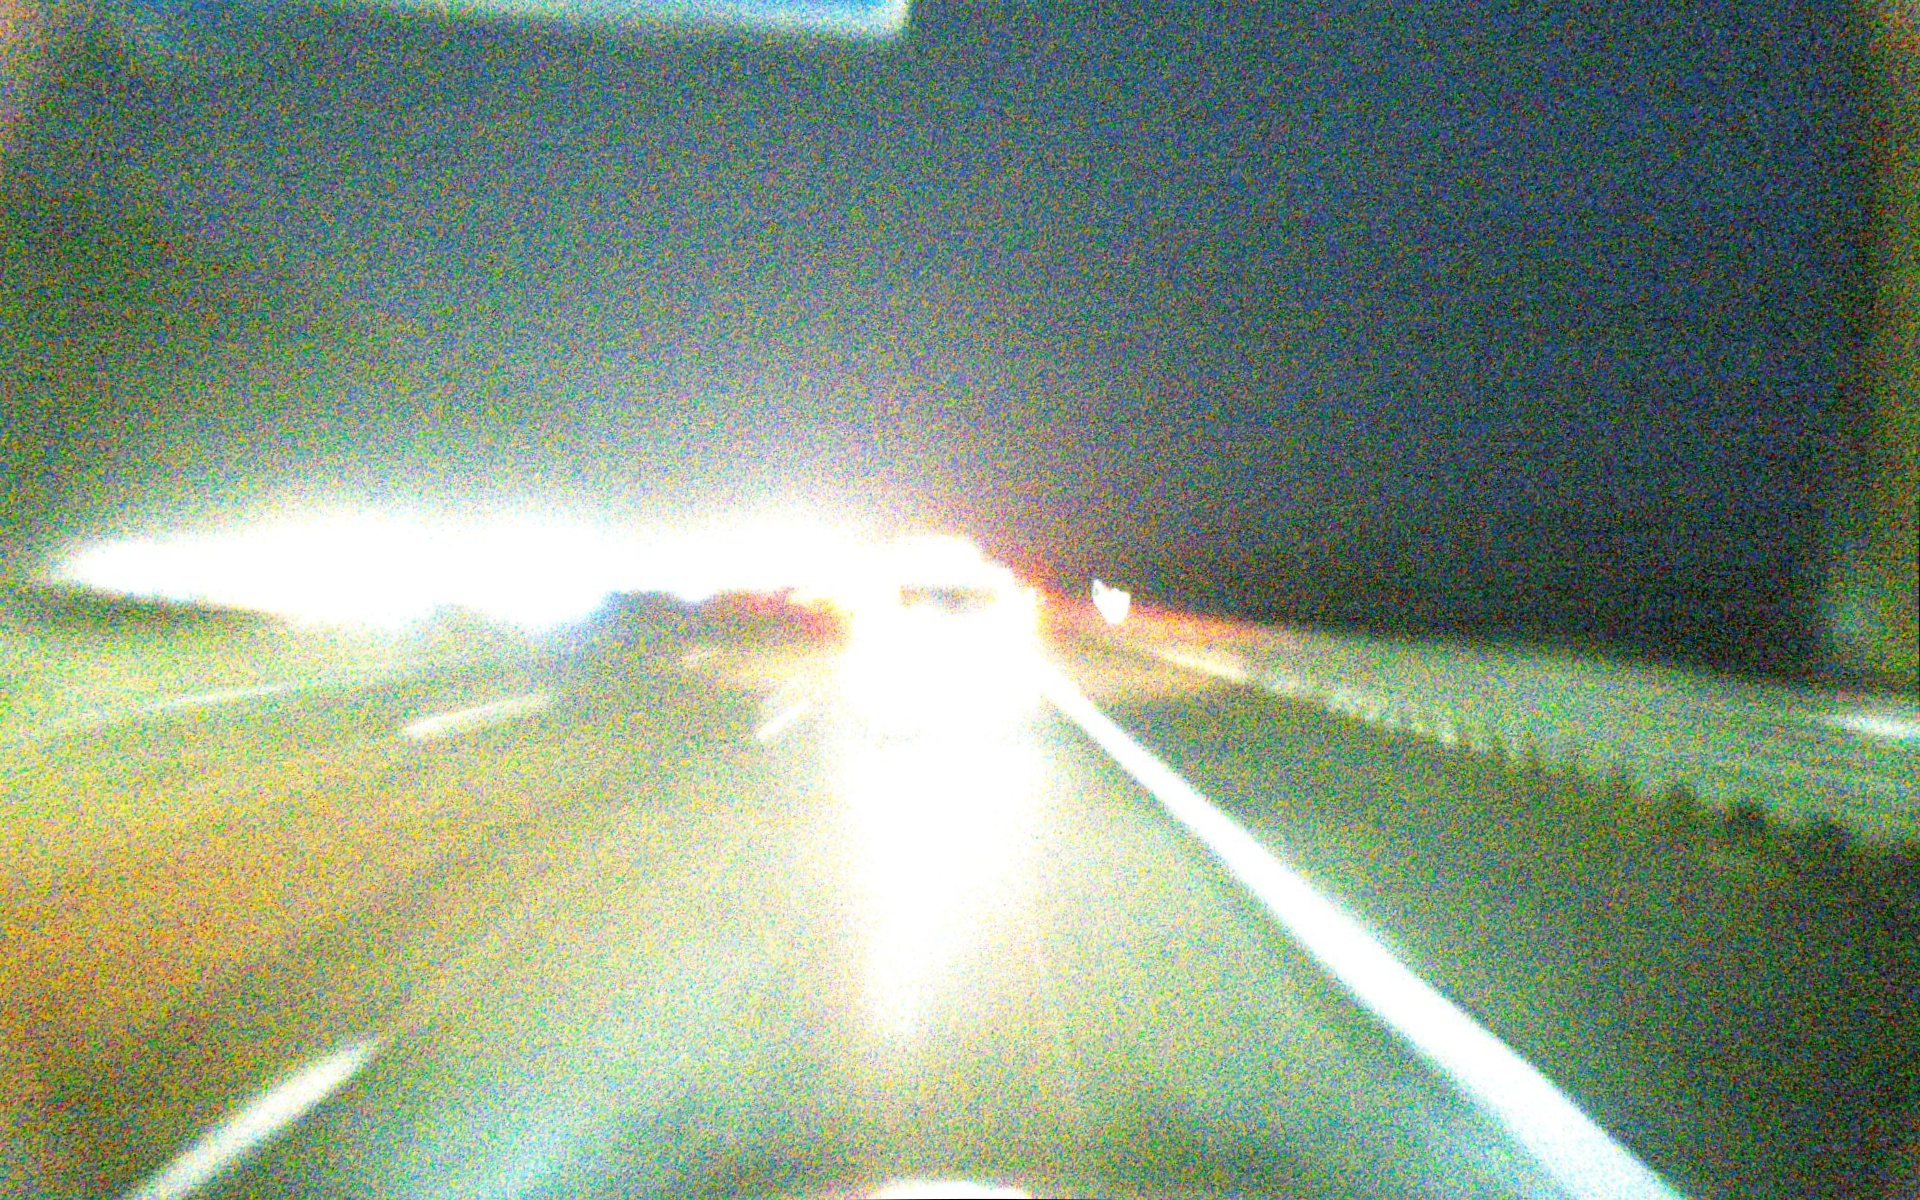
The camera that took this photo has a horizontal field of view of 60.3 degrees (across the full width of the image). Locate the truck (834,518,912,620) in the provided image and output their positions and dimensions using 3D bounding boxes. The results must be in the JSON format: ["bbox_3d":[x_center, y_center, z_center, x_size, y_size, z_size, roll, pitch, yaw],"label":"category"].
[{"bbox_3d":[-5.085,-1.743,99.309,4.083,5.641,13.071,2,0,-1],"label":"truck"}]

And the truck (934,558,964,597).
[{"bbox_3d":[-1.533,-2.905,219.767,3.746,5.001,11.603,2,0,-1],"label":"truck"}]

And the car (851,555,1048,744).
[{"bbox_3d":[-0.203,0.489,18.965,1.914,1.823,5.122,2,0,-2],"label":"car"}]
